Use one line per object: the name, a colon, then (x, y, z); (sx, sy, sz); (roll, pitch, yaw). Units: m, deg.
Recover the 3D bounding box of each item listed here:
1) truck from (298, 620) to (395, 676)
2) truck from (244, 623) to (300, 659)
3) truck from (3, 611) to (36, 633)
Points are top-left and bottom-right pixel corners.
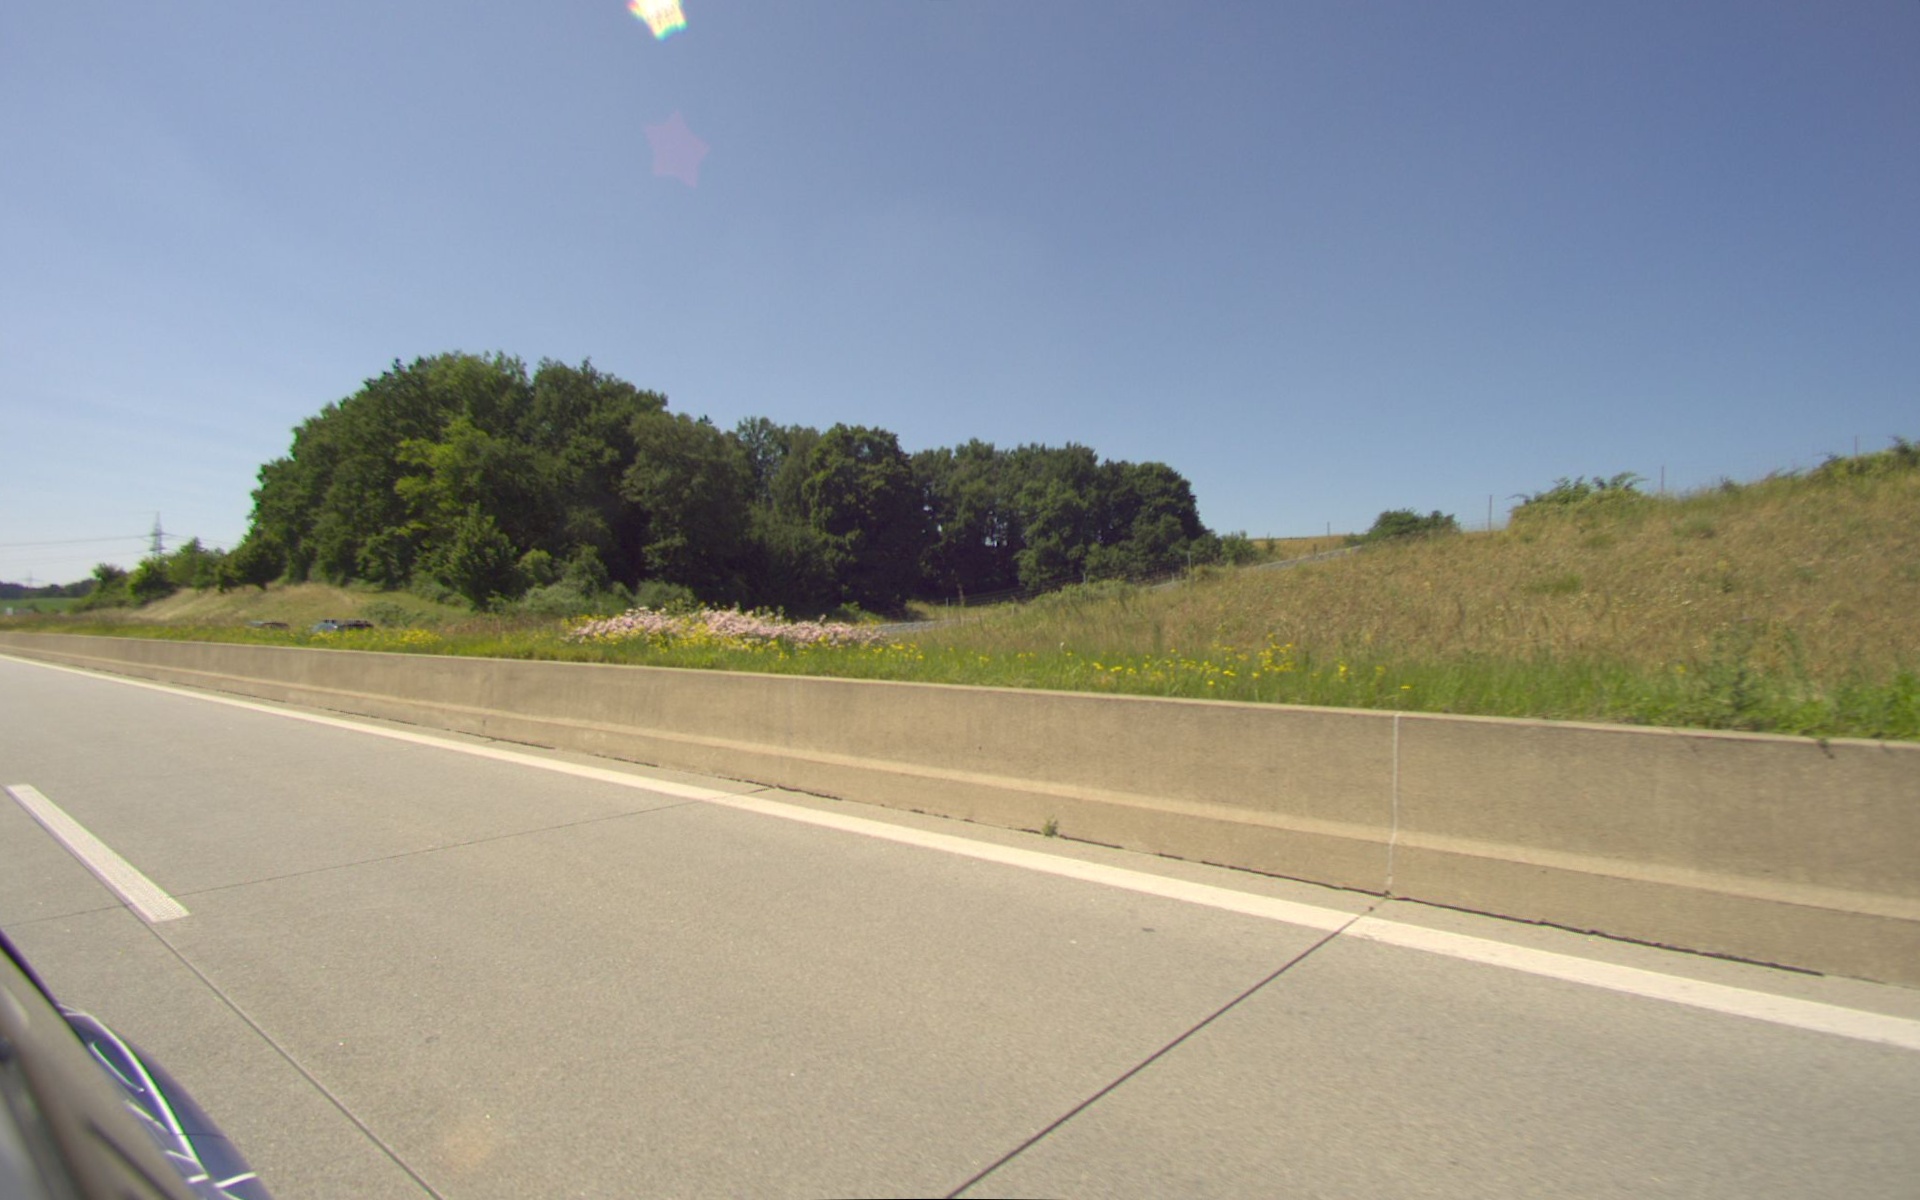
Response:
truck: (-21.591, 1.650, 35.555); (3.969, 1.830, 1.803); (-1, -1, 41)
truck: (-36.751, 2.171, 54.017); (3.578, 1.830, 1.640); (-1, -1, 41)
truck: (-145.517, 3.410, 156.593); (8.256, 3.378, 2.864); (-1, -2, 42)
